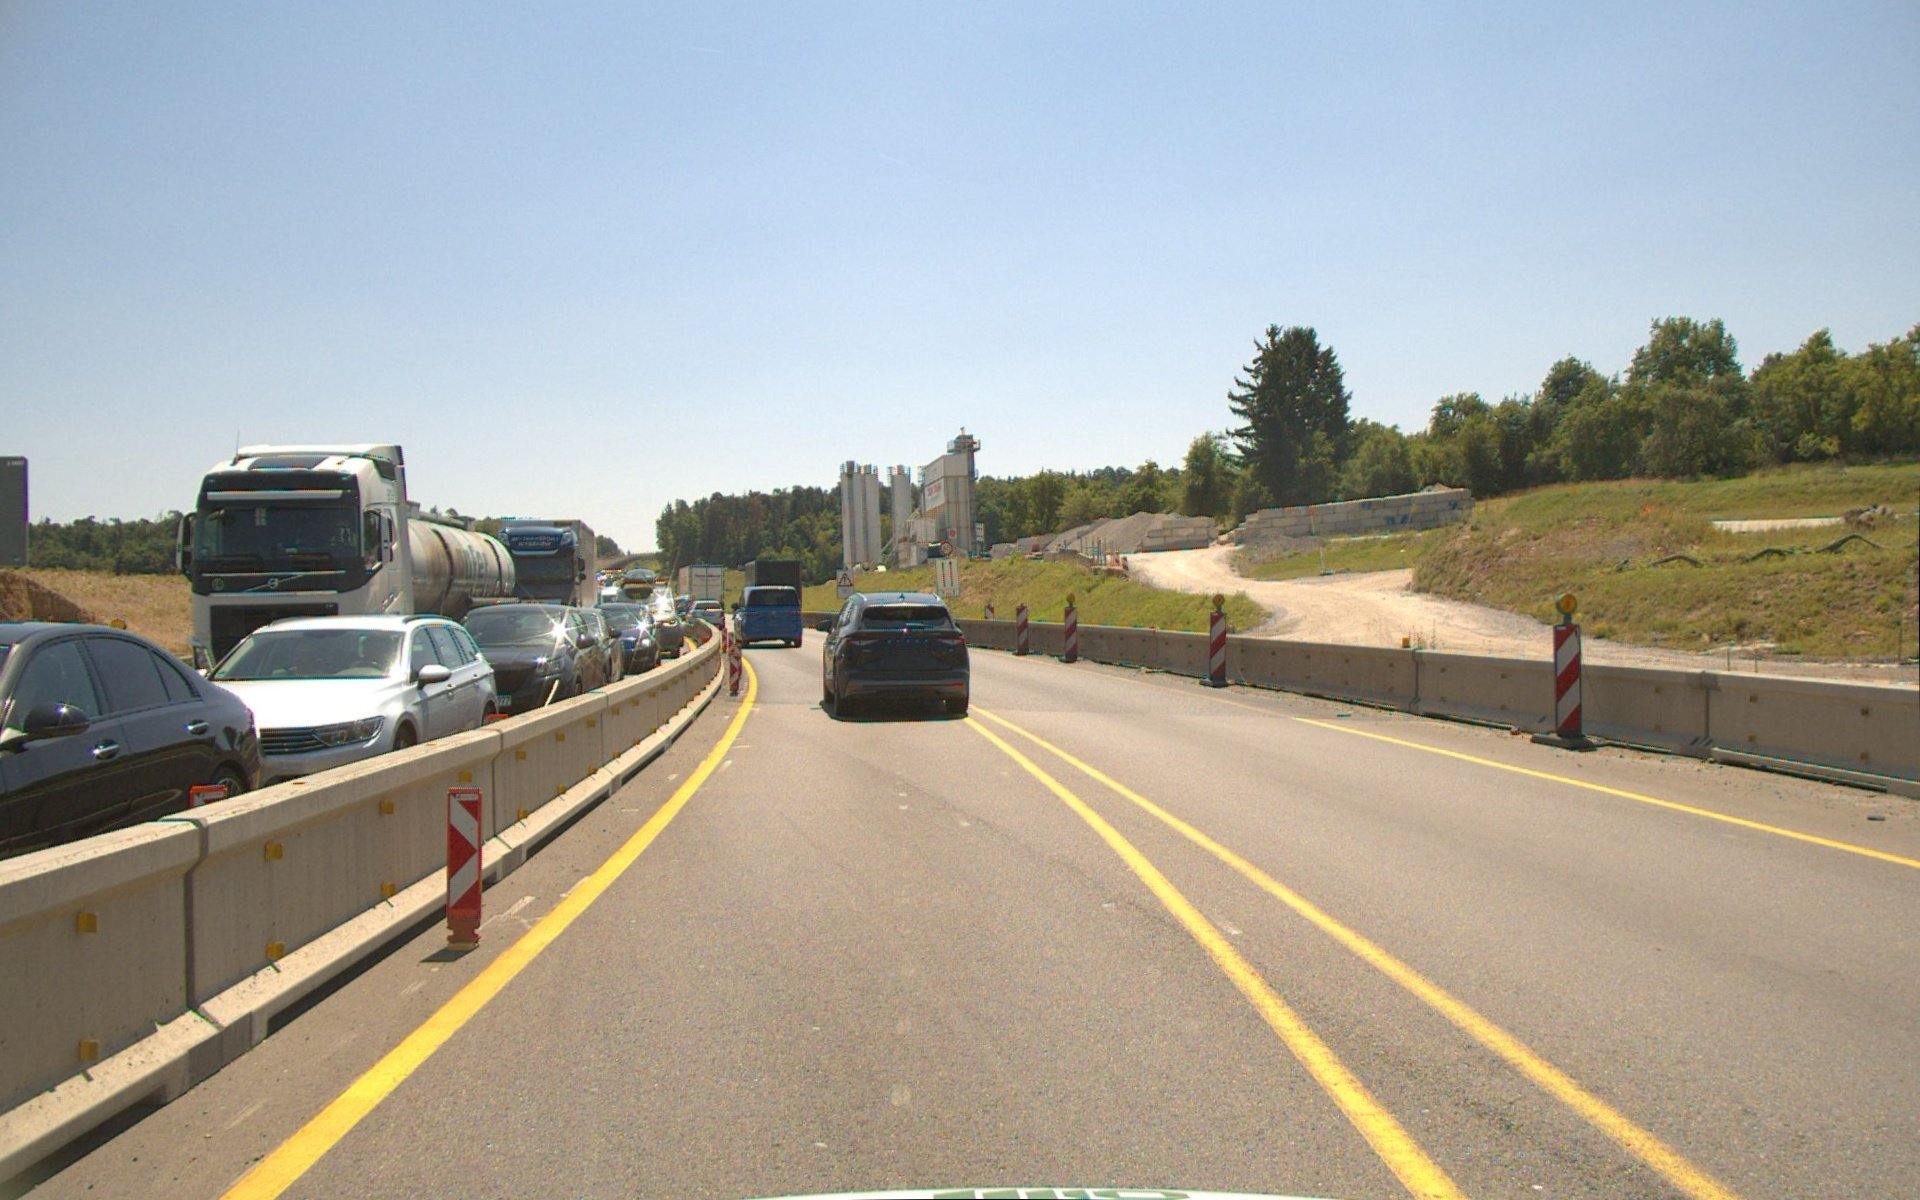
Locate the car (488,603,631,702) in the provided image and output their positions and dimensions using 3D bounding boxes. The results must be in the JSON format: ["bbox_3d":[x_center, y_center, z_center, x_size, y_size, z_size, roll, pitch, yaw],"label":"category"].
[{"bbox_3d":[-6.577,0.809,27.595,1.702,1.441,4.790,-1,0,-6],"label":"car"}]

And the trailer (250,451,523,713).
[{"bbox_3d":[-10.508,-0.326,31.695,2.654,4.047,11.224,-2,1,-8],"label":"trailer"}]

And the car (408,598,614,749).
[{"bbox_3d":[-5.257,0.786,19.853,1.645,1.571,4.113,-1,0,-5],"label":"car"}]

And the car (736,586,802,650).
[{"bbox_3d":[-6.106,0.537,52.630,1.956,1.876,3.993,-2,1,-8],"label":"car"}]

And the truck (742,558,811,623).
[{"bbox_3d":[-9.152,-0.448,82.034,2.627,2.996,5.602,-3,0,-13],"label":"truck"}]

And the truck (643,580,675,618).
[{"bbox_3d":[-36.334,-0.162,199.574,3.415,4.294,10.345,-1,1,-12],"label":"truck"}]

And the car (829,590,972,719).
[{"bbox_3d":[-0.919,0.690,23.194,1.806,1.609,3.996,-1,0,-5],"label":"car"}]

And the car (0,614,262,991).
[{"bbox_3d":[-4.702,0.849,7.199,1.622,1.478,4.246,-1,0,-2],"label":"car"}]

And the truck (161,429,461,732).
[{"bbox_3d":[-9.771,-0.300,25.645,2.648,4.038,6.191,-2,0,-6],"label":"truck"}]

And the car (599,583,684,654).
[{"bbox_3d":[-8.715,0.467,45.613,2.007,1.808,5.057,-1,0,-8],"label":"car"}]

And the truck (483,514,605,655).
[{"bbox_3d":[-13.851,-0.507,55.915,2.721,4.209,10.850,-2,1,-8],"label":"truck"}]

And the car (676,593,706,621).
[{"bbox_3d":[-16.979,0.424,104.659,1.787,1.673,3.858,-1,0,-9],"label":"car"}]

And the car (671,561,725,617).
[{"bbox_3d":[-20.325,-0.855,127.819,3.378,4.172,9.165,1,0,-14],"label":"car"}]

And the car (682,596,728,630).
[{"bbox_3d":[-12.685,0.626,82.110,2.009,1.553,5.053,-3,1,-11],"label":"car"}]

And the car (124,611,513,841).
[{"bbox_3d":[-4.966,0.867,13.503,1.645,1.469,4.550,-1,0,-4],"label":"car"}]

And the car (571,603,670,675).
[{"bbox_3d":[-7.530,0.820,37.054,1.702,1.472,4.790,-1,0,-6],"label":"car"}]
